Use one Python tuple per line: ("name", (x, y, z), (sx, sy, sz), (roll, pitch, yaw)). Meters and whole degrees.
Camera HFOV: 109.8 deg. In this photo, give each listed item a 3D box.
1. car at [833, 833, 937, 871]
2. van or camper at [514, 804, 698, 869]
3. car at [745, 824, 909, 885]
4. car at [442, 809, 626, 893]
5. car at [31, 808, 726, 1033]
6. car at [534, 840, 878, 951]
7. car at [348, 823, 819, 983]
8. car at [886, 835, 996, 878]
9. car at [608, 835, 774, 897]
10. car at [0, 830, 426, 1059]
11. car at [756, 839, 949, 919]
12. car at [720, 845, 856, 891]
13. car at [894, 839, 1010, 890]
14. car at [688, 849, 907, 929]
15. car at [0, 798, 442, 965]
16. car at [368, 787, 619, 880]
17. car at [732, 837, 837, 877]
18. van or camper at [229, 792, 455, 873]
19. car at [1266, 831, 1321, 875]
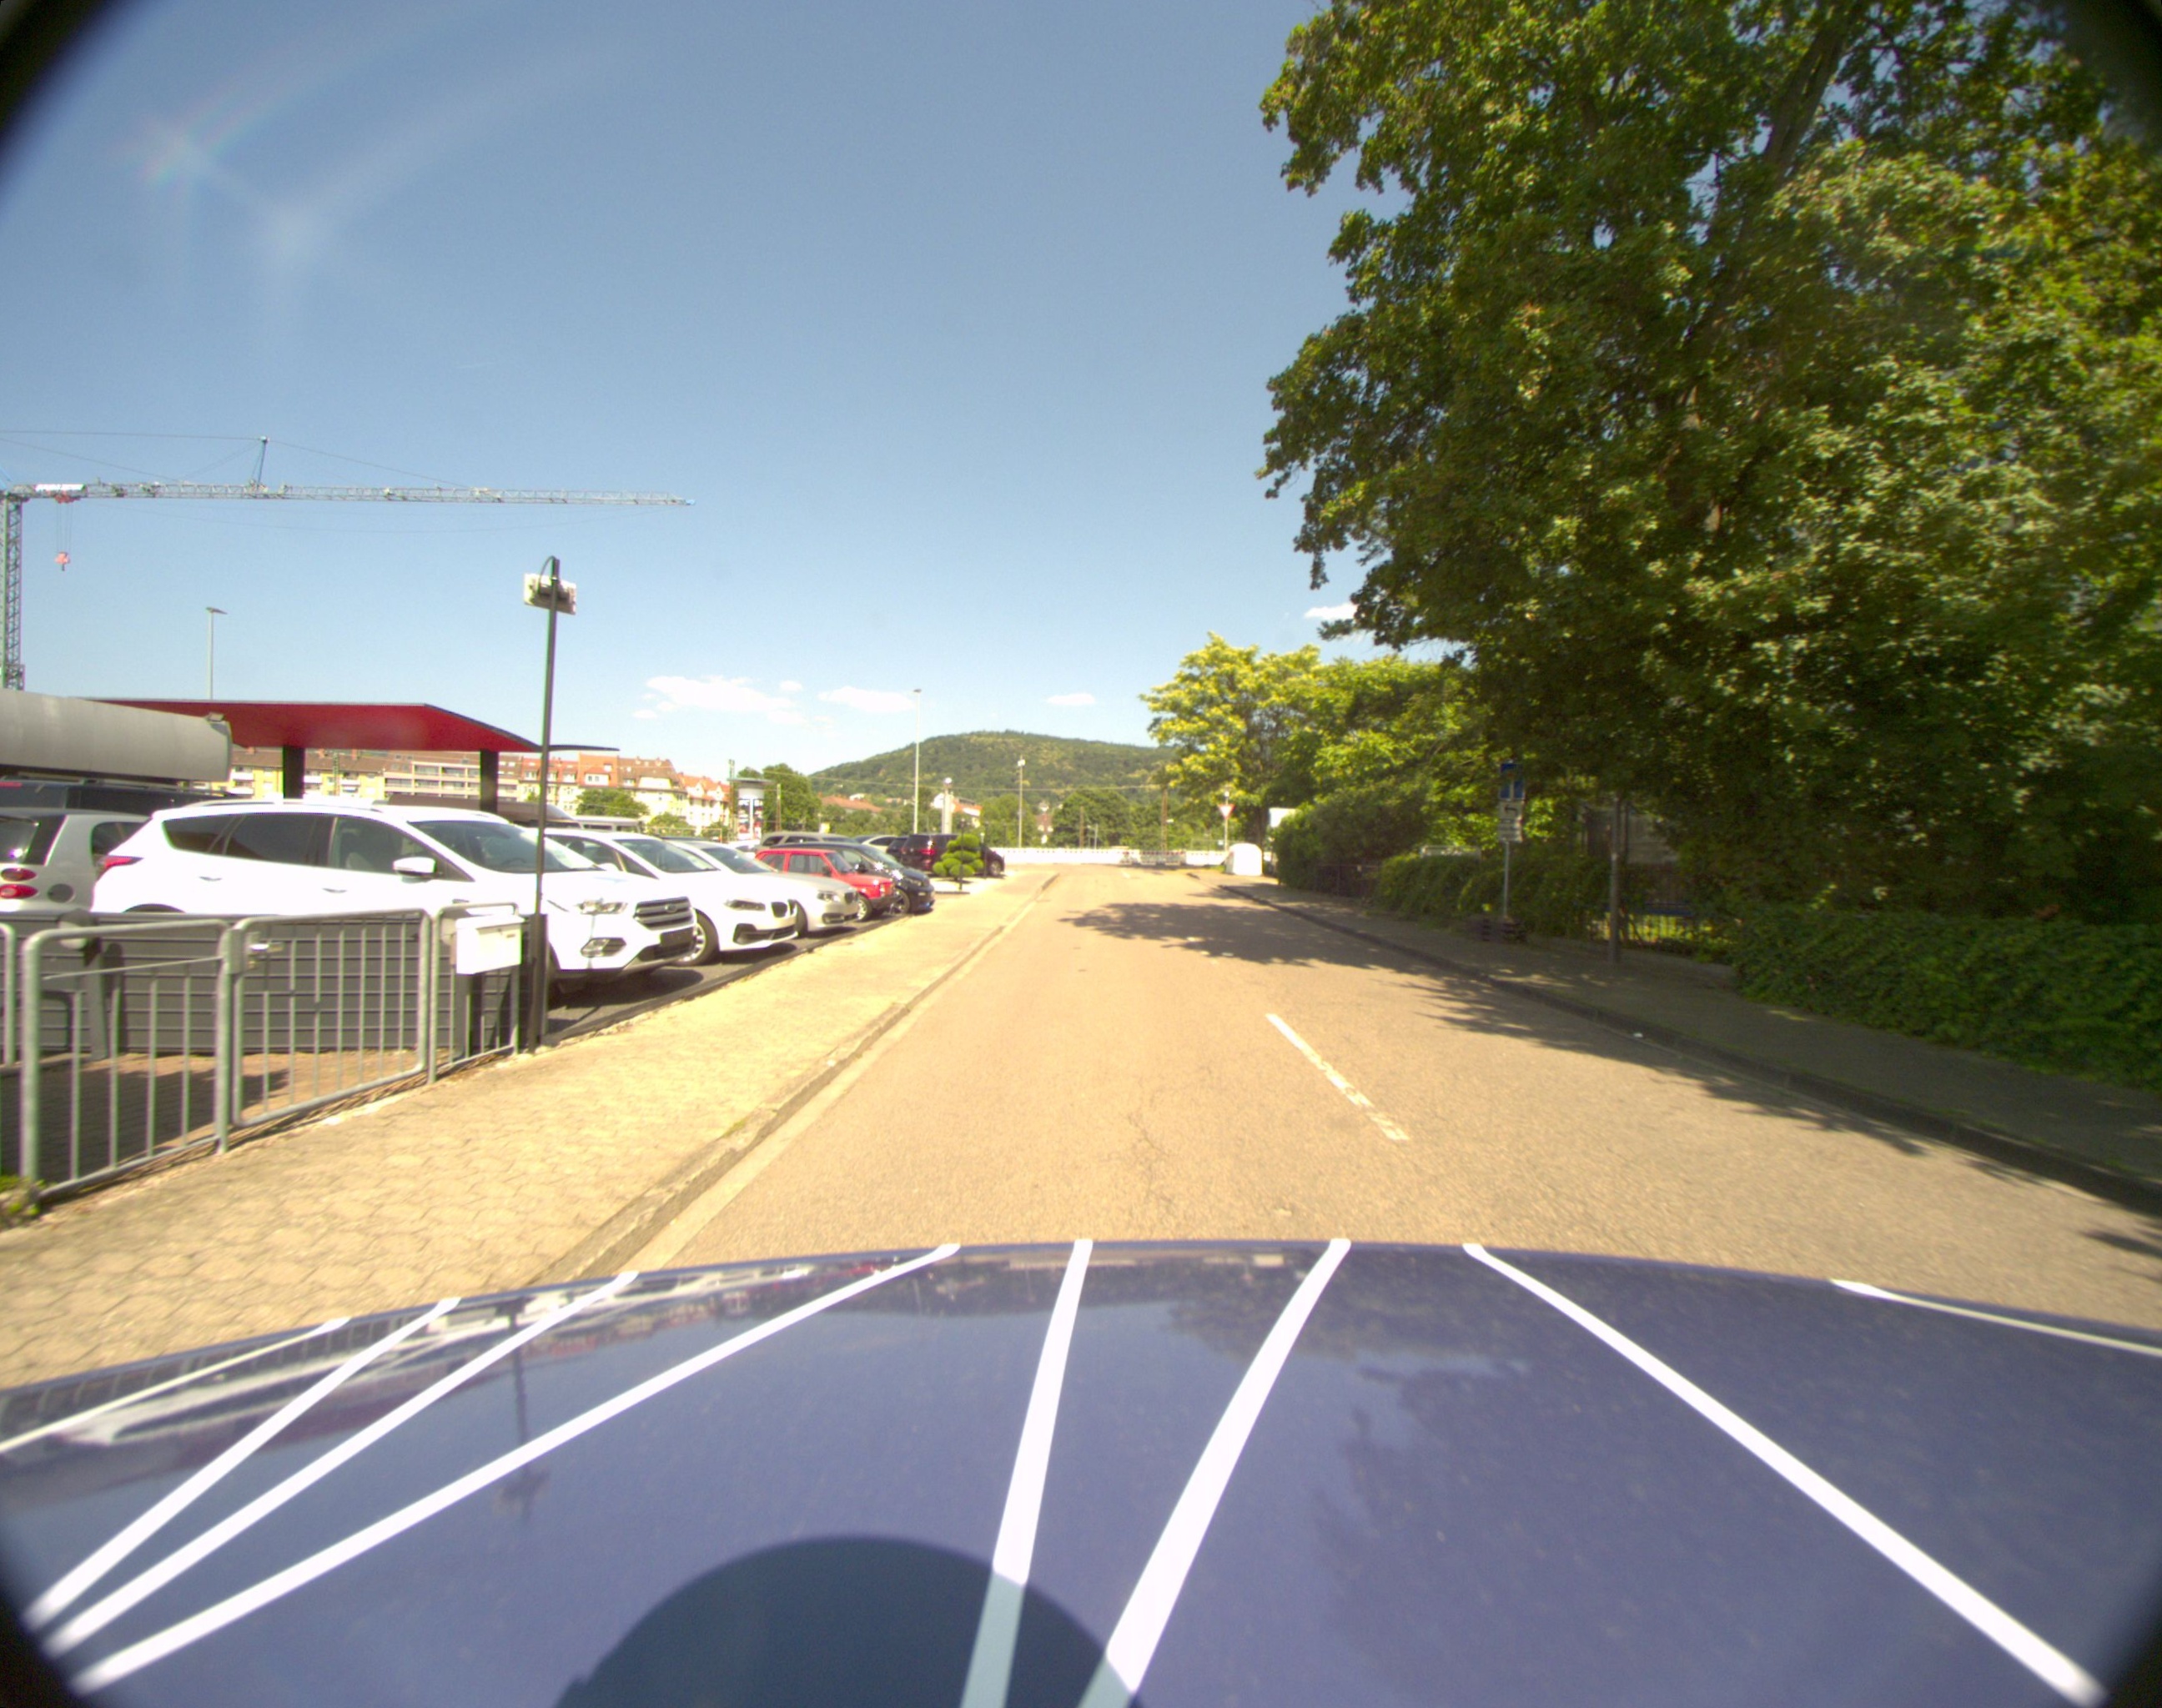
("car", (-9.190, -0.104, 36.063), (2.011, 1.682, 4.827), (2, 1, 28))
("van or camper", (-17.467, -0.590, 28.342), (5.512, 2.248, 2.108), (0, 1, -22))
("car", (-8.124, -0.012, 24.253), (4.984, 1.752, 1.929), (2, 1, 25))
("car", (-15.729, -0.100, 21.872), (4.566, 2.138, 1.928), (3, 0, 19))
("car", (-5.821, 0.512, 6.772), (4.414, 1.644, 1.843), (1, 1, -1))
("car", (-5.663, 0.588, 11.884), (4.414, 1.488, 1.897), (1, 1, 0))
("car", (-5.755, 0.524, 9.252), (4.414, 1.519, 1.896), (3, 1, -1))
("car", (-6.245, 0.095, 34.467), (2.011, 1.769, 4.828), (2, 1, 36))
("car", (-11.777, 0.317, 22.935), (4.565, 1.626, 1.928), (2, 1, 22))
("car", (-9.570, 0.688, 8.000), (1.998, 1.849, 3.788), (0, 1, 1))
("car", (-5.080, 0.536, 17.243), (3.812, 1.615, 1.759), (2, 1, 0))
("car", (-10.613, 0.481, 27.661), (4.216, 1.525, 1.919), (0, 2, -40))
("car", (-4.913, 0.377, 29.463), (1.847, 1.772, 4.300), (3, 2, 37))
("car", (-5.304, 0.628, 14.502), (3.558, 1.327, 1.558), (2, 1, 0))
("car", (-12.889, 0.306, 11.775), (1.999, 2.002, 4.905), (2, 1, -3))
("car", (-18.750, -0.581, 24.711), (6.026, 2.663, 2.255), (2, 1, -22))
("car", (-13.367, 0.135, 34.414), (1.855, 1.696, 4.009), (2, 1, 44))
("van or camper", (-24.007, -0.633, 24.995), (4.943, 2.422, 1.995), (1, 1, -29))
("car", (10.553, -0.139, 38.025), (1.997, 1.920, 5.103), (3, 3, 9))
